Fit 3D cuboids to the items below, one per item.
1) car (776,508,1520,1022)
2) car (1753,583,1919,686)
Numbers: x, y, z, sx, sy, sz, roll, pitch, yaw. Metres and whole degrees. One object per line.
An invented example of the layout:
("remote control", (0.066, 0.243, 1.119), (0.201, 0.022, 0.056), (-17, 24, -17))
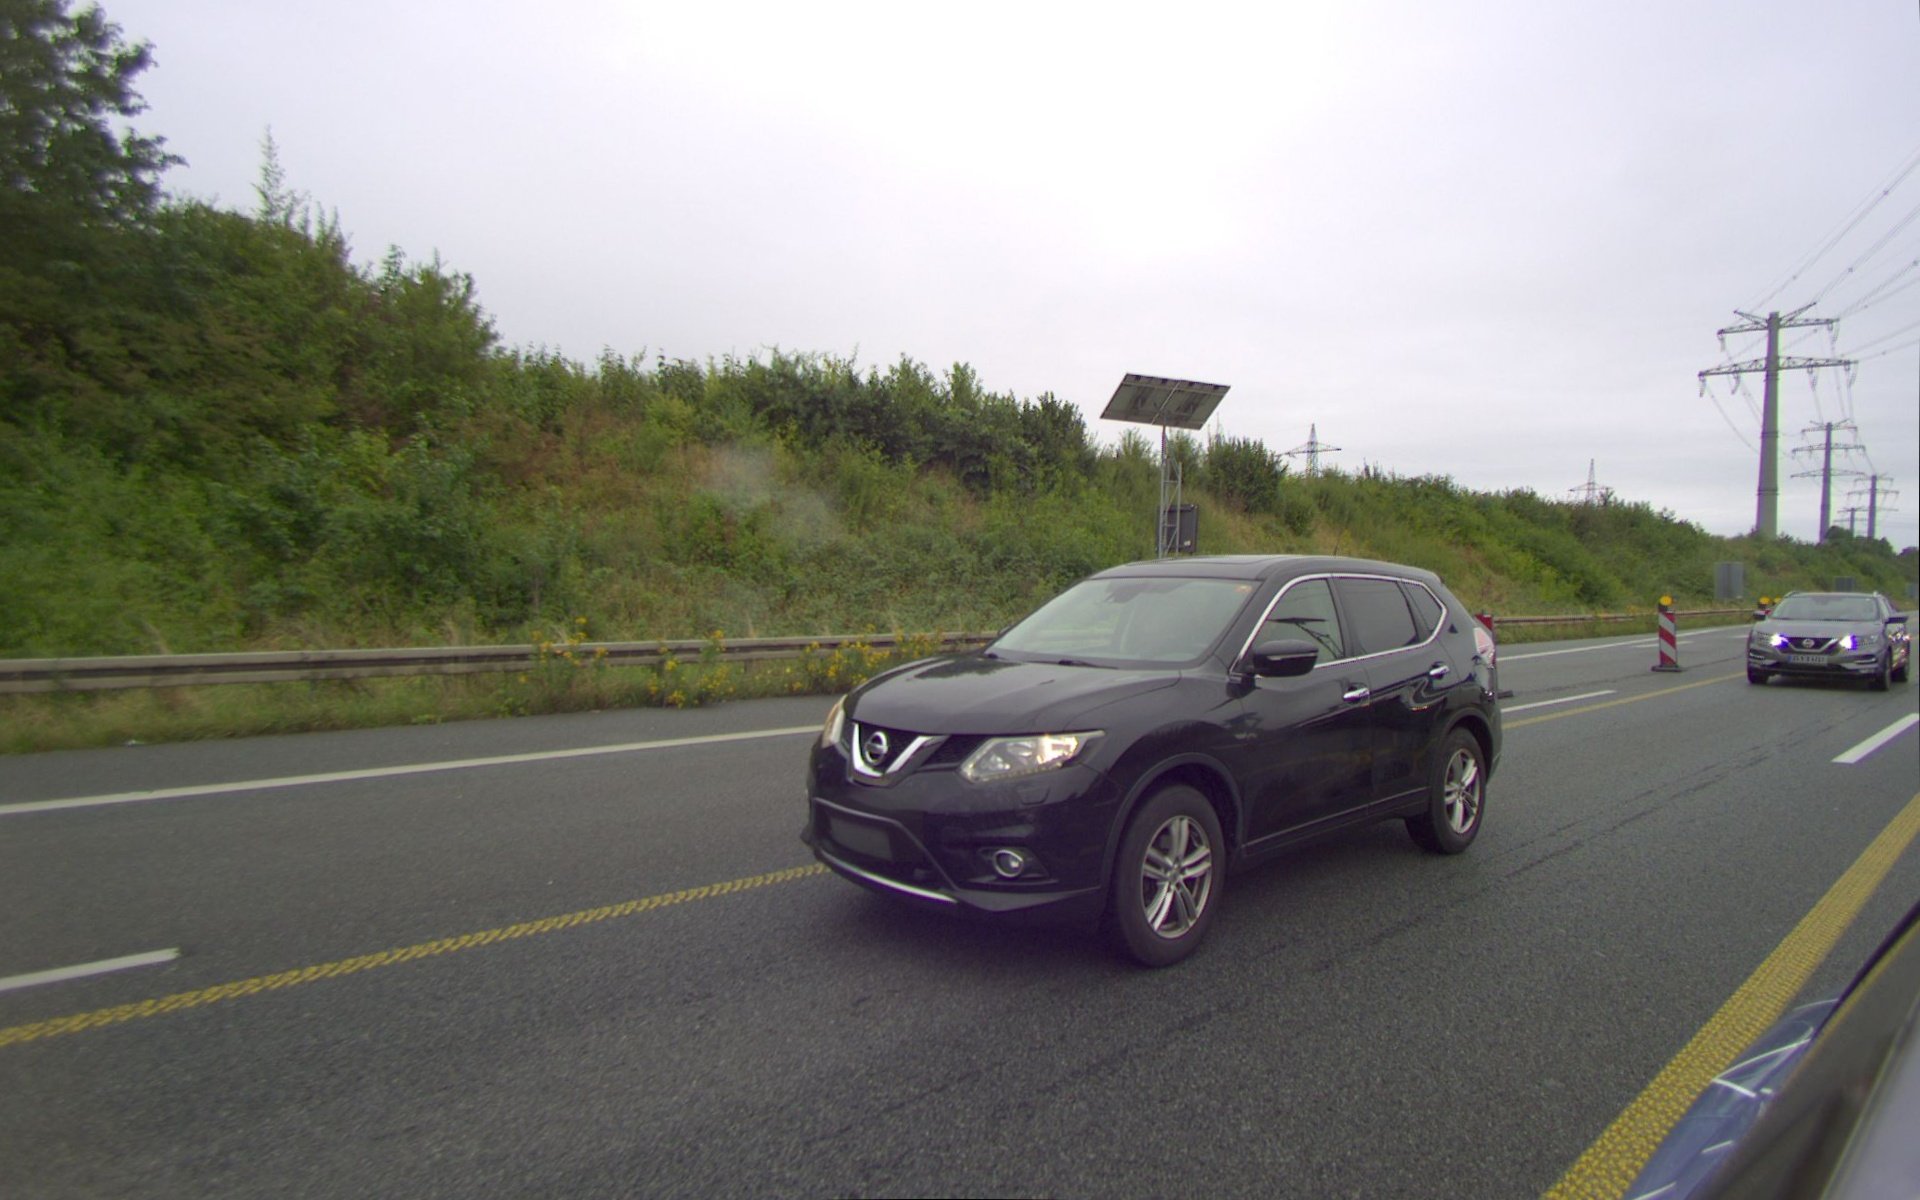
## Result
("car", (1.283, 0.517, 5.354), (4.207, 1.679, 1.687), (0, 1, -42))
("car", (15.131, 0.498, 17.319), (4.079, 1.552, 1.802), (0, 1, -42))
